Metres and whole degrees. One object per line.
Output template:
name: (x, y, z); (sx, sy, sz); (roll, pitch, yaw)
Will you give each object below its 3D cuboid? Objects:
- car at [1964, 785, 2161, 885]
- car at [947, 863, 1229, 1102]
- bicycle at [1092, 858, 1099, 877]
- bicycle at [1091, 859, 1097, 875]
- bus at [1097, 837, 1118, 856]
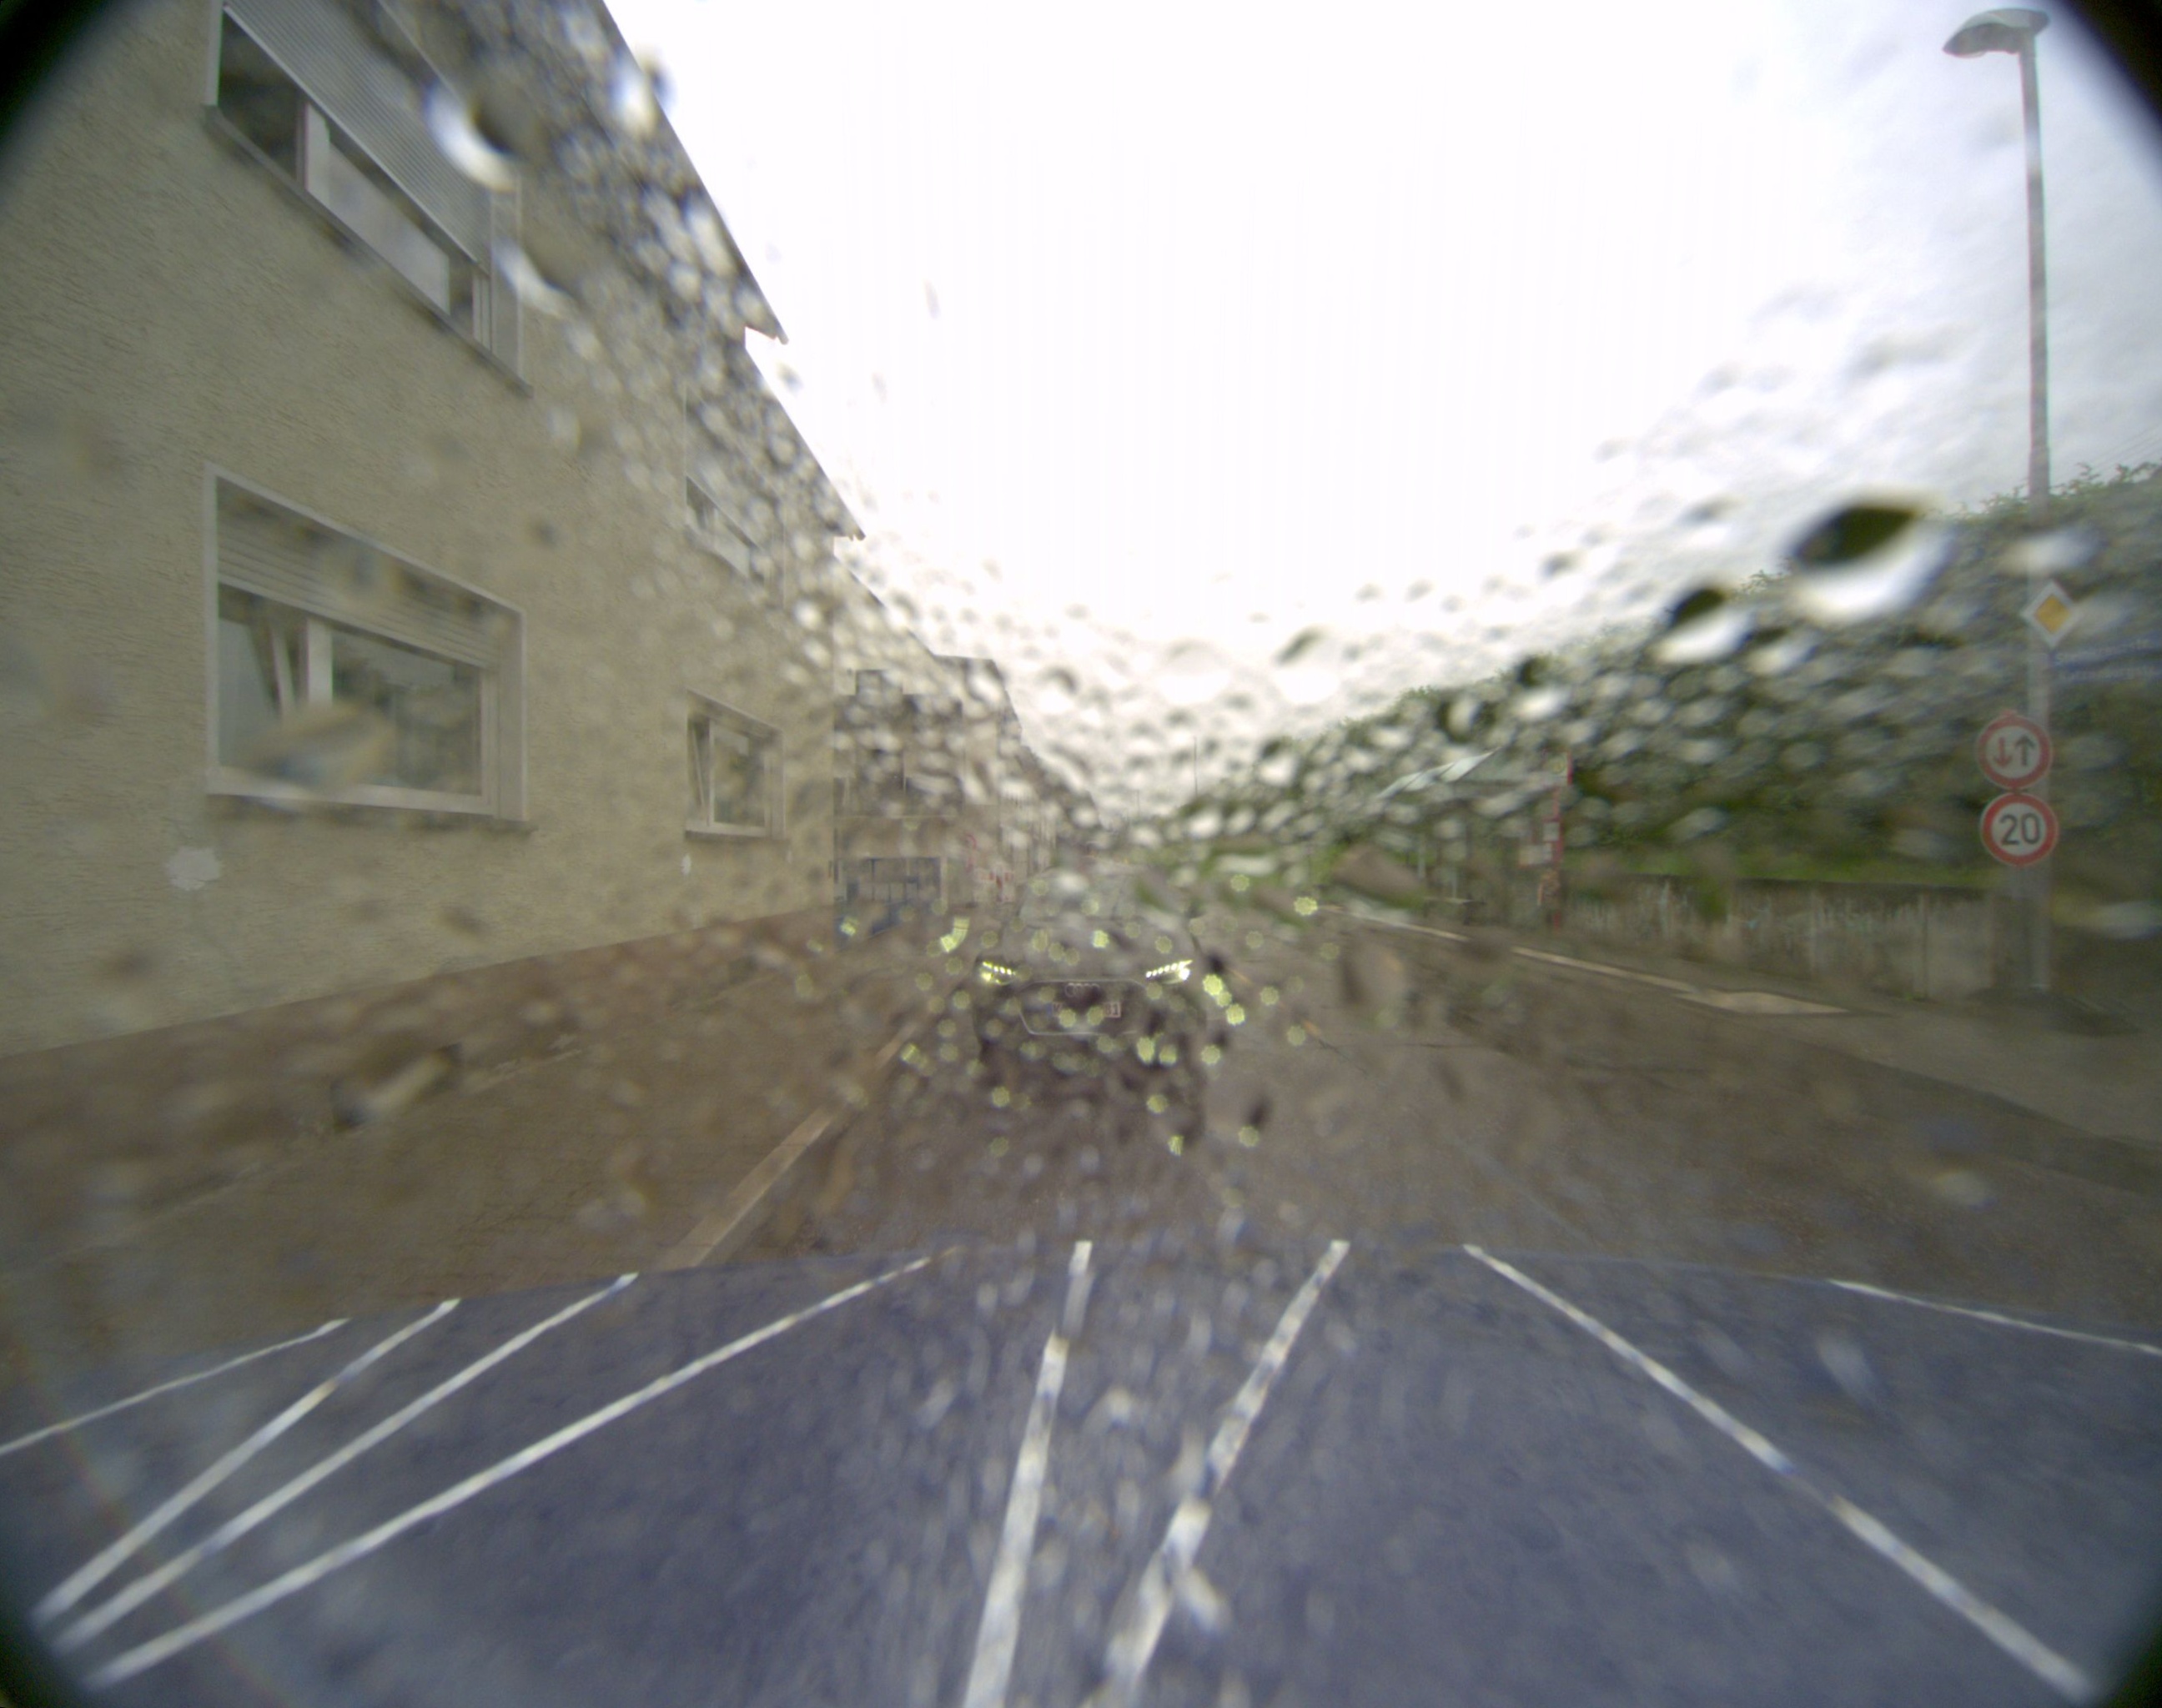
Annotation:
car: (15.835, -0.294, 10.735); (1.749, 1.382, 4.220); (-1, 3, 0)
car: (0.067, 0.884, 7.321); (1.851, 1.444, 4.531); (1, 1, 1)
bicycle: (0.918, 0.819, 47.256); (0.407, 1.137, 1.221); (1, 1, 2)
bicycle: (0.852, 0.840, 49.492); (0.407, 1.023, 1.221); (1, 1, 2)
bus: (4.542, -1.342, 129.253); (2.684, 2.988, 14.549); (1, 1, 5)
